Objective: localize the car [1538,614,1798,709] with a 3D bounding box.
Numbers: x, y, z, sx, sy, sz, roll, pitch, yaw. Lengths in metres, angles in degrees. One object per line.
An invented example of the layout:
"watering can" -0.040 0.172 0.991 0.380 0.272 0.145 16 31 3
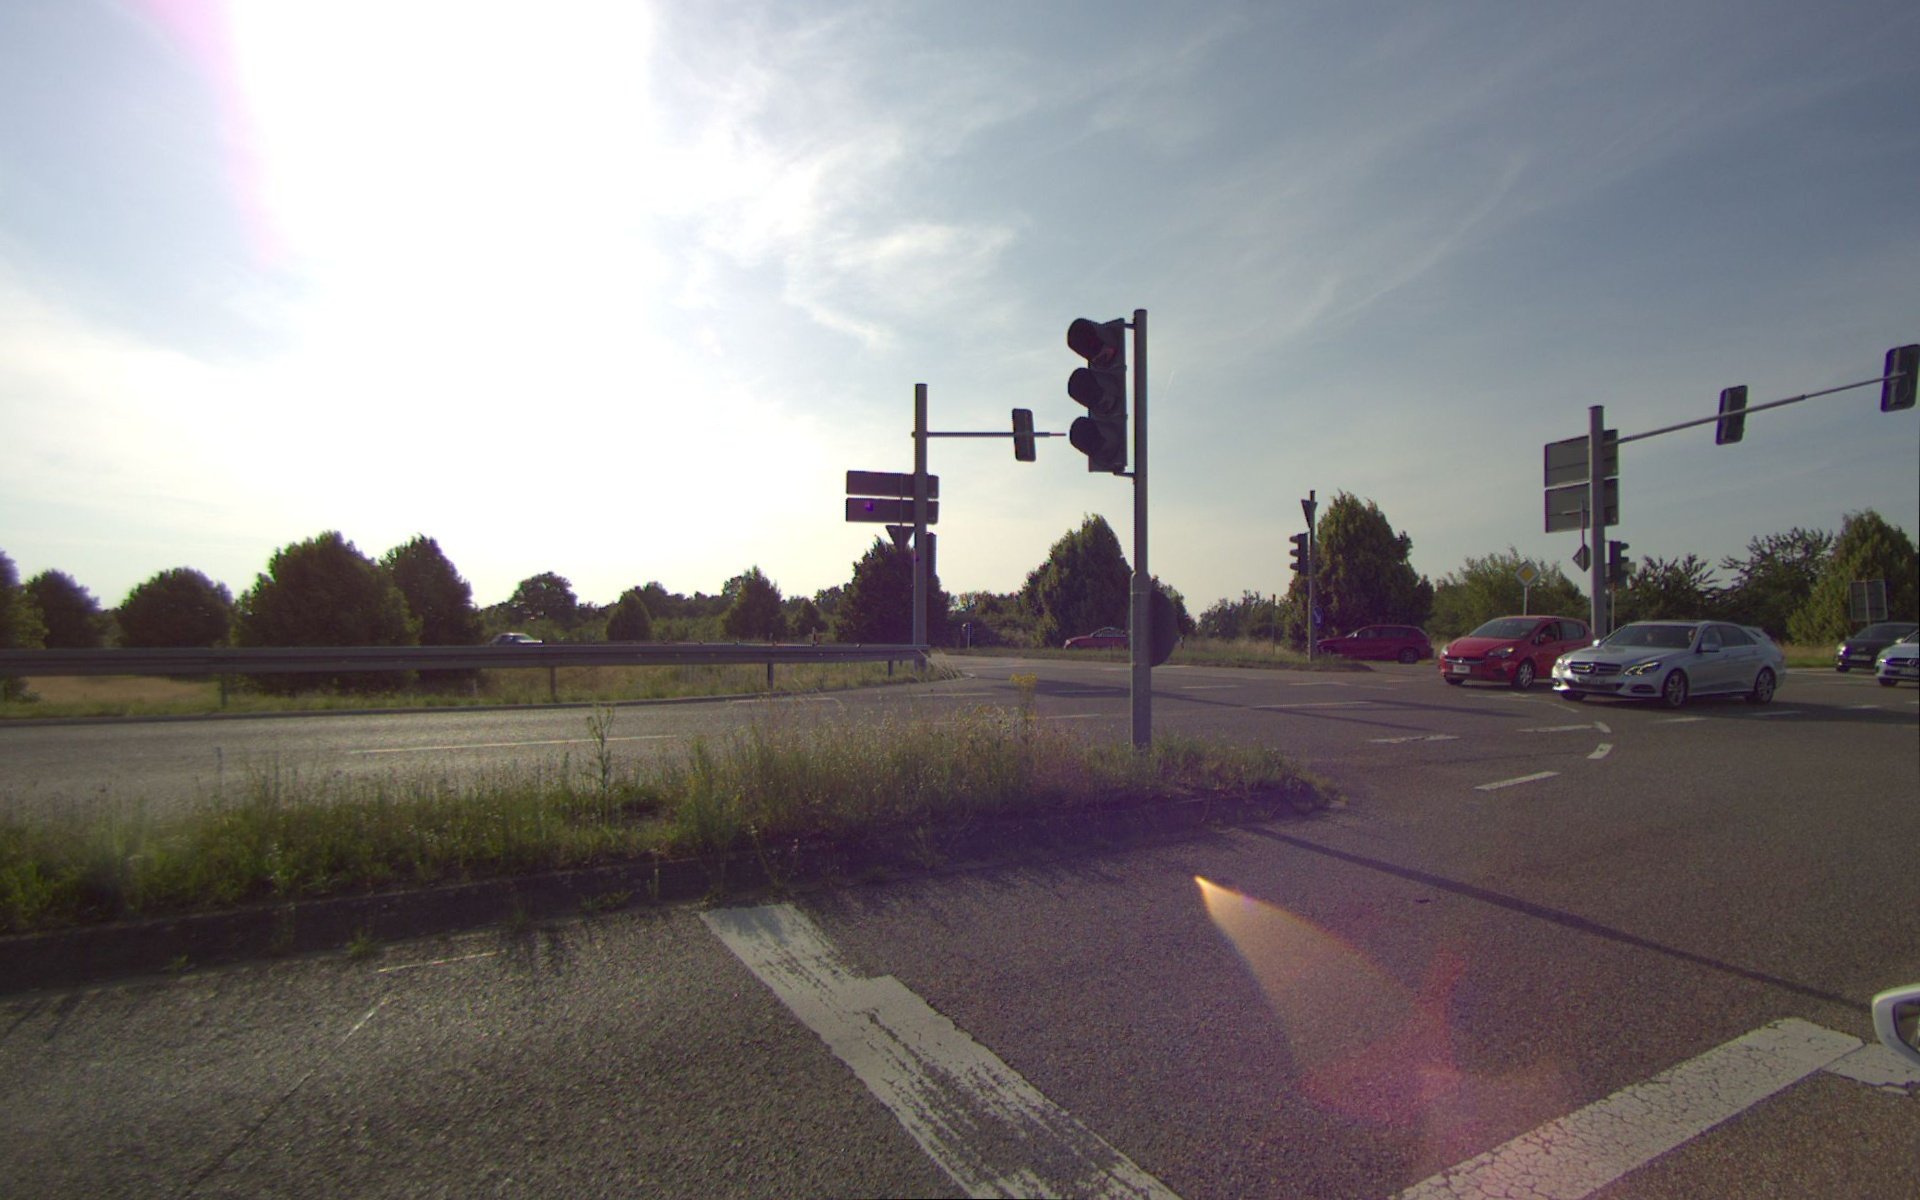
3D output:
"car" 12.552 1.040 17.777 4.589 1.507 1.780 1 -1 -26

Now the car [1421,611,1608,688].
"car" 11.698 1.018 21.174 3.756 1.507 1.714 1 -1 -28

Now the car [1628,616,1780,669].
"car" 25.939 1.465 35.123 3.921 1.749 1.848 1 -1 1

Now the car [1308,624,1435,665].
"car" 14.657 1.560 35.989 4.130 1.344 1.664 0 -1 19

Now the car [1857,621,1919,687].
"car" 23.016 1.243 23.326 4.252 1.452 1.780 1 -1 -26

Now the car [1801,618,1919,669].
"car" 27.183 1.282 29.944 3.997 1.452 1.780 1 -1 -26

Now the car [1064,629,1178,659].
"car" 6.779 1.819 42.481 4.412 1.116 1.990 0 -1 41
